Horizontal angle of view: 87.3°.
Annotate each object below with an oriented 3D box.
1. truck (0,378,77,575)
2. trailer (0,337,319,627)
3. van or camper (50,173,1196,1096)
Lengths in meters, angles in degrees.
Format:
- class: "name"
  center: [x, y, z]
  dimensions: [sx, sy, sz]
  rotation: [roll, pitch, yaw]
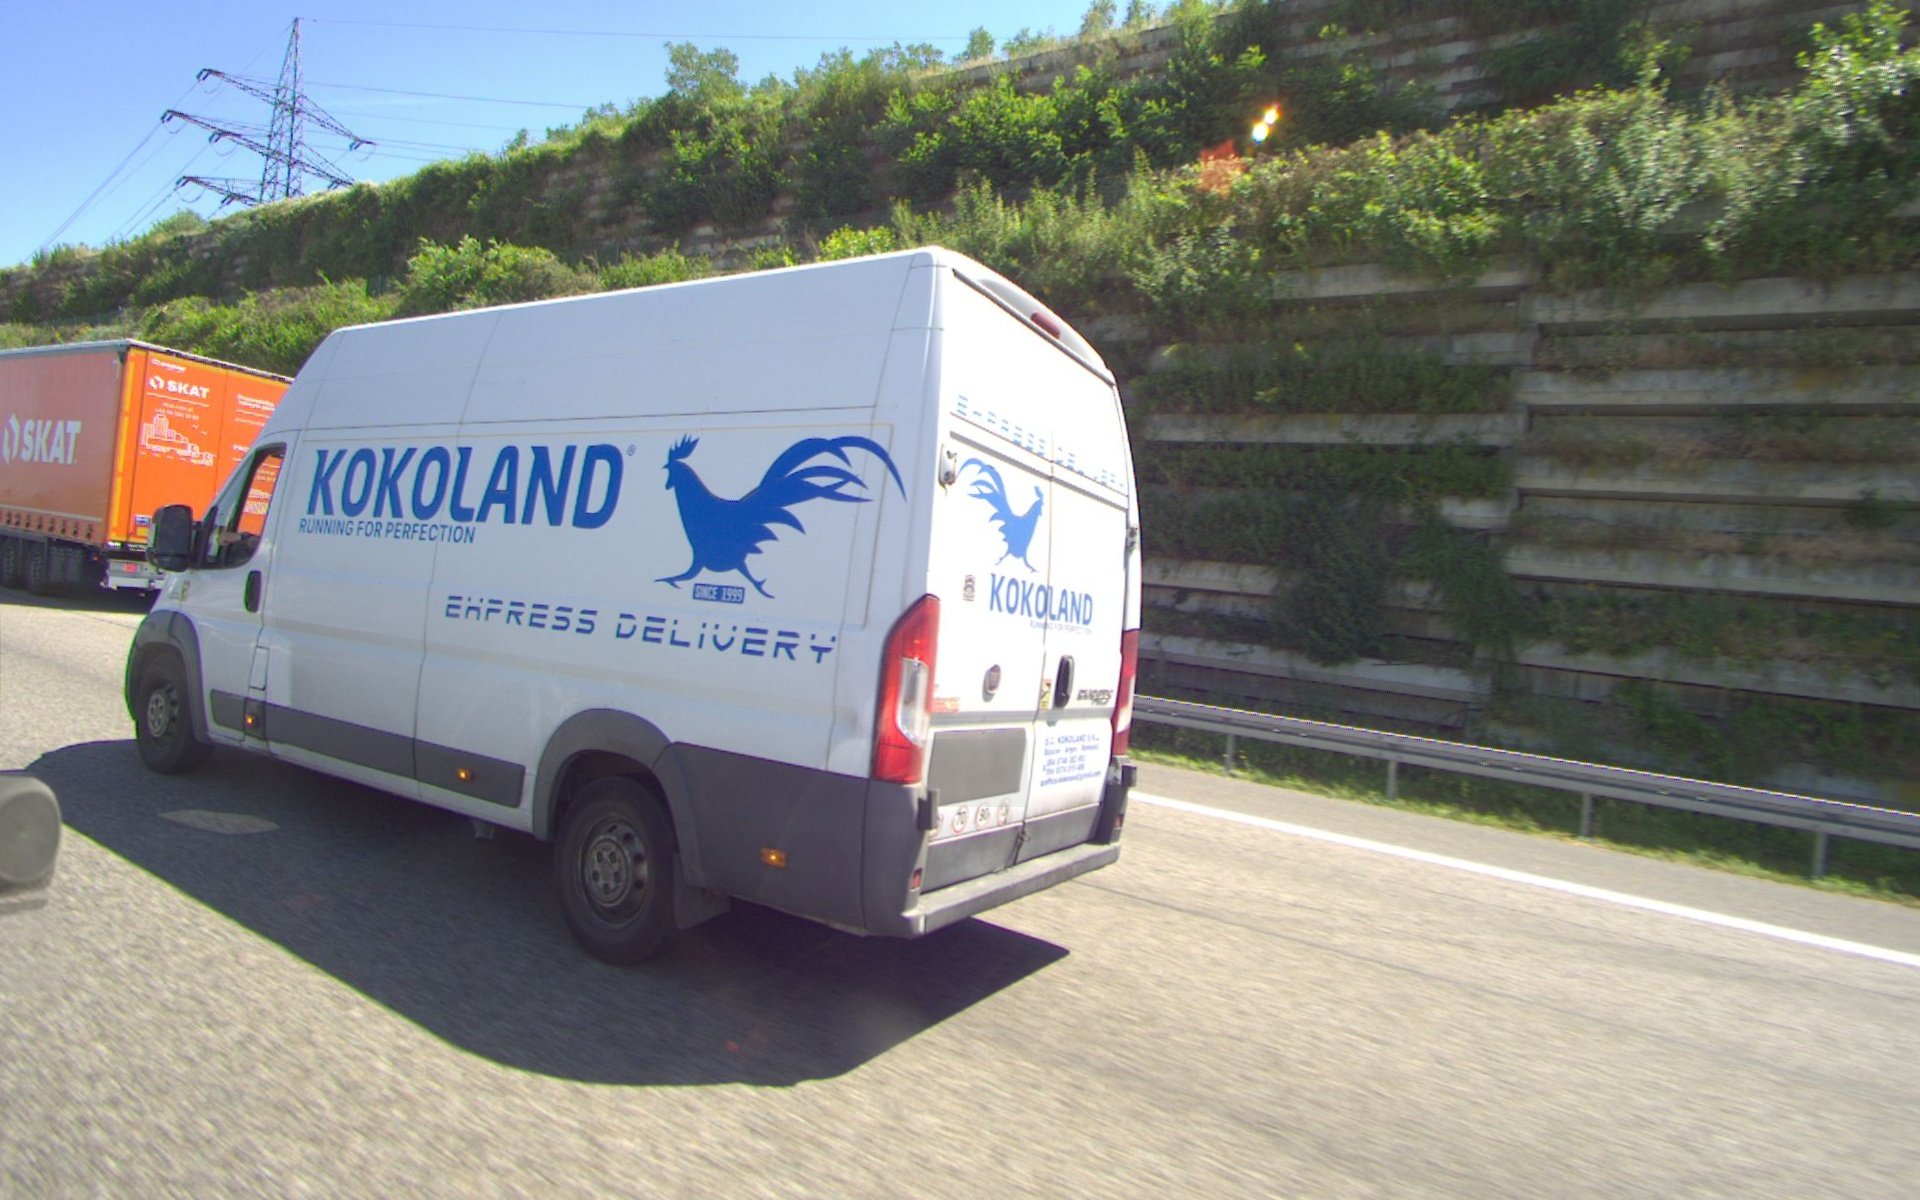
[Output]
- class: "truck"
  center: [-23.141, -2.972, 22.855]
  dimensions: [6.418, 4.042, 2.621]
  rotation: [7, 0, 32]
- class: "trailer"
  center: [-17.238, -2.313, 19.187]
  dimensions: [13.381, 4.054, 2.648]
  rotation: [6, 0, 32]
- class: "van or camper"
  center: [-2.375, -0.132, 5.665]
  dimensions: [6.644, 2.803, 2.099]
  rotation: [7, 0, 31]
